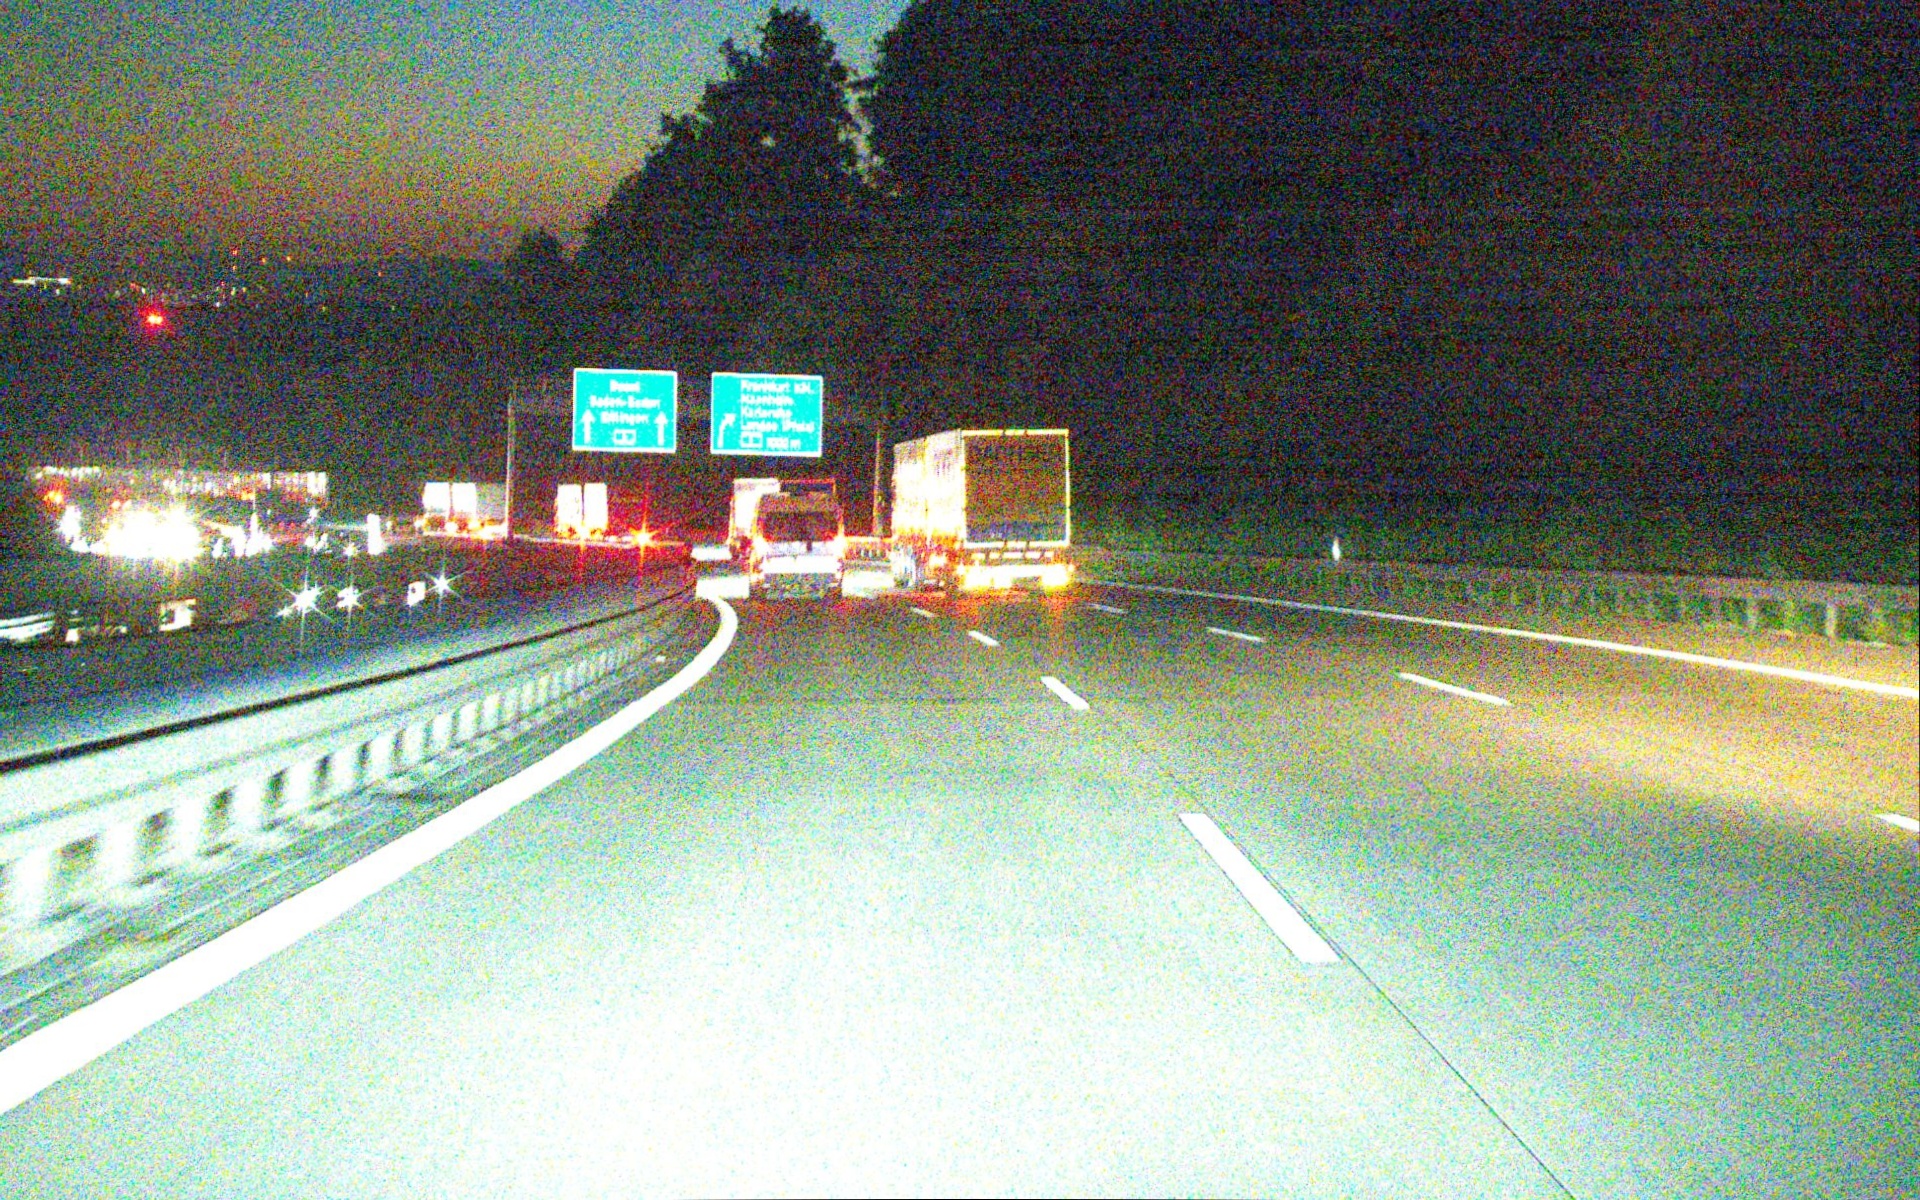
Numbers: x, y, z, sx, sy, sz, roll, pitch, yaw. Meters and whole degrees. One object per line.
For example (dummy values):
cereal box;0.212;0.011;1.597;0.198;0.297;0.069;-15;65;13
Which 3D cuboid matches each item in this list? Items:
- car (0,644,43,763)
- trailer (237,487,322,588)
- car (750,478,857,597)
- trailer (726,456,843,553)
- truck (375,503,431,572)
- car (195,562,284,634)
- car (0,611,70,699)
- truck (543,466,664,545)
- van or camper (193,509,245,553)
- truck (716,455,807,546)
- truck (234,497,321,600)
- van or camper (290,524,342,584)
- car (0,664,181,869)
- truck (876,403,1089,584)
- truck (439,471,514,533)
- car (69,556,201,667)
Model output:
car;-13.553;1.399;45.494;1.902;1.448;4.712;-1;1;-5
trailer;-30.464;-2.791;154.328;3.435;4.226;12.836;-2;1;-10
car;-3.698;-1.471;80.482;2.337;2.631;5.248;2;1;-4
trailer;-8.220;-4.498;158.630;2.853;4.053;13.211;-2;4;-14
truck;-30.122;-3.386;185.706;2.654;3.578;8.553;-1;1;-11
car;-22.569;-0.084;107.846;2.139;2.047;5.114;-2;2;-6
car;-17.627;1.017;63.128;1.822;1.453;4.001;-3;1;-6
truck;-23.059;-6.195;220.877;3.914;4.611;21.027;-2;3;-16
van or camper;-49.156;-4.586;227.984;2.445;2.751;6.491;-3;2;-19
truck;-9.478;-4.781;163.467;2.861;4.062;7.514;-2;4;-14
truck;-29.442;-2.262;148.518;3.417;4.208;6.285;-3;2;-10
van or camper;-33.337;-2.425;177.816;1.833;2.961;6.402;-3;2;-17
car;-9.568;1.736;36.702;1.732;1.851;4.001;-3;1;-4
truck;0.288;-2.647;88.493;3.481;4.120;18.713;-1;1;-6
truck;-36.800;-7.496;261.217;3.343;4.460;13.915;1;2;-17
car;-19.251;0.218;80.479;2.027;2.433;5.696;-1;1;-4
